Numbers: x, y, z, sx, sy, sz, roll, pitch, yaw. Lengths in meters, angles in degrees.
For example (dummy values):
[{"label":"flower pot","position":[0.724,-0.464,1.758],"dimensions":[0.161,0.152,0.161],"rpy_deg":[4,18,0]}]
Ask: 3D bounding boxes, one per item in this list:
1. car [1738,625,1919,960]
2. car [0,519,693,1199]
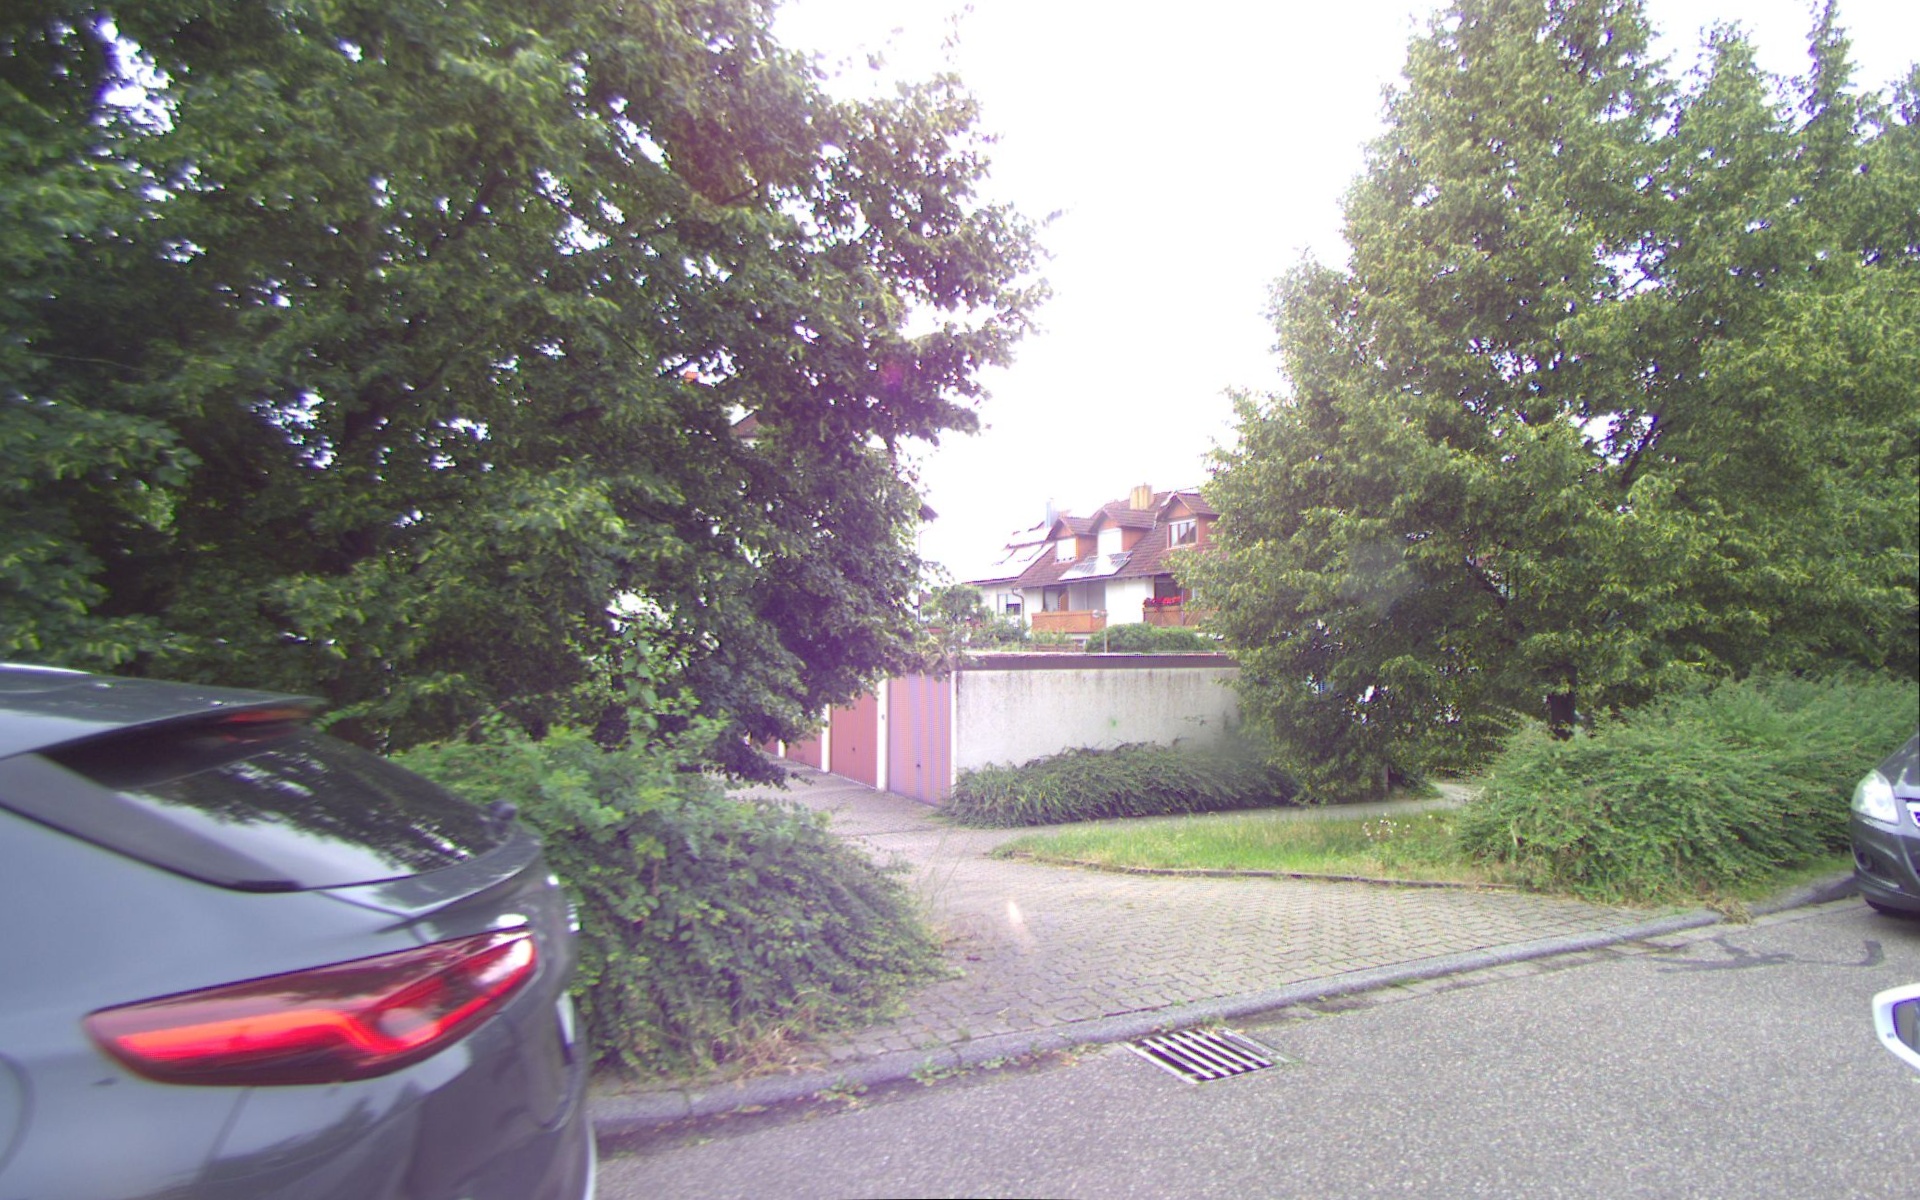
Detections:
[{"label":"car","position":[6.727,0.969,5.719],"dimensions":[4.492,1.614,1.753],"rpy_deg":[1,-5,-26]},{"label":"car","position":[-2.549,0.728,1.155],"dimensions":[4.136,1.550,1.738],"rpy_deg":[1,-4,-24]}]
